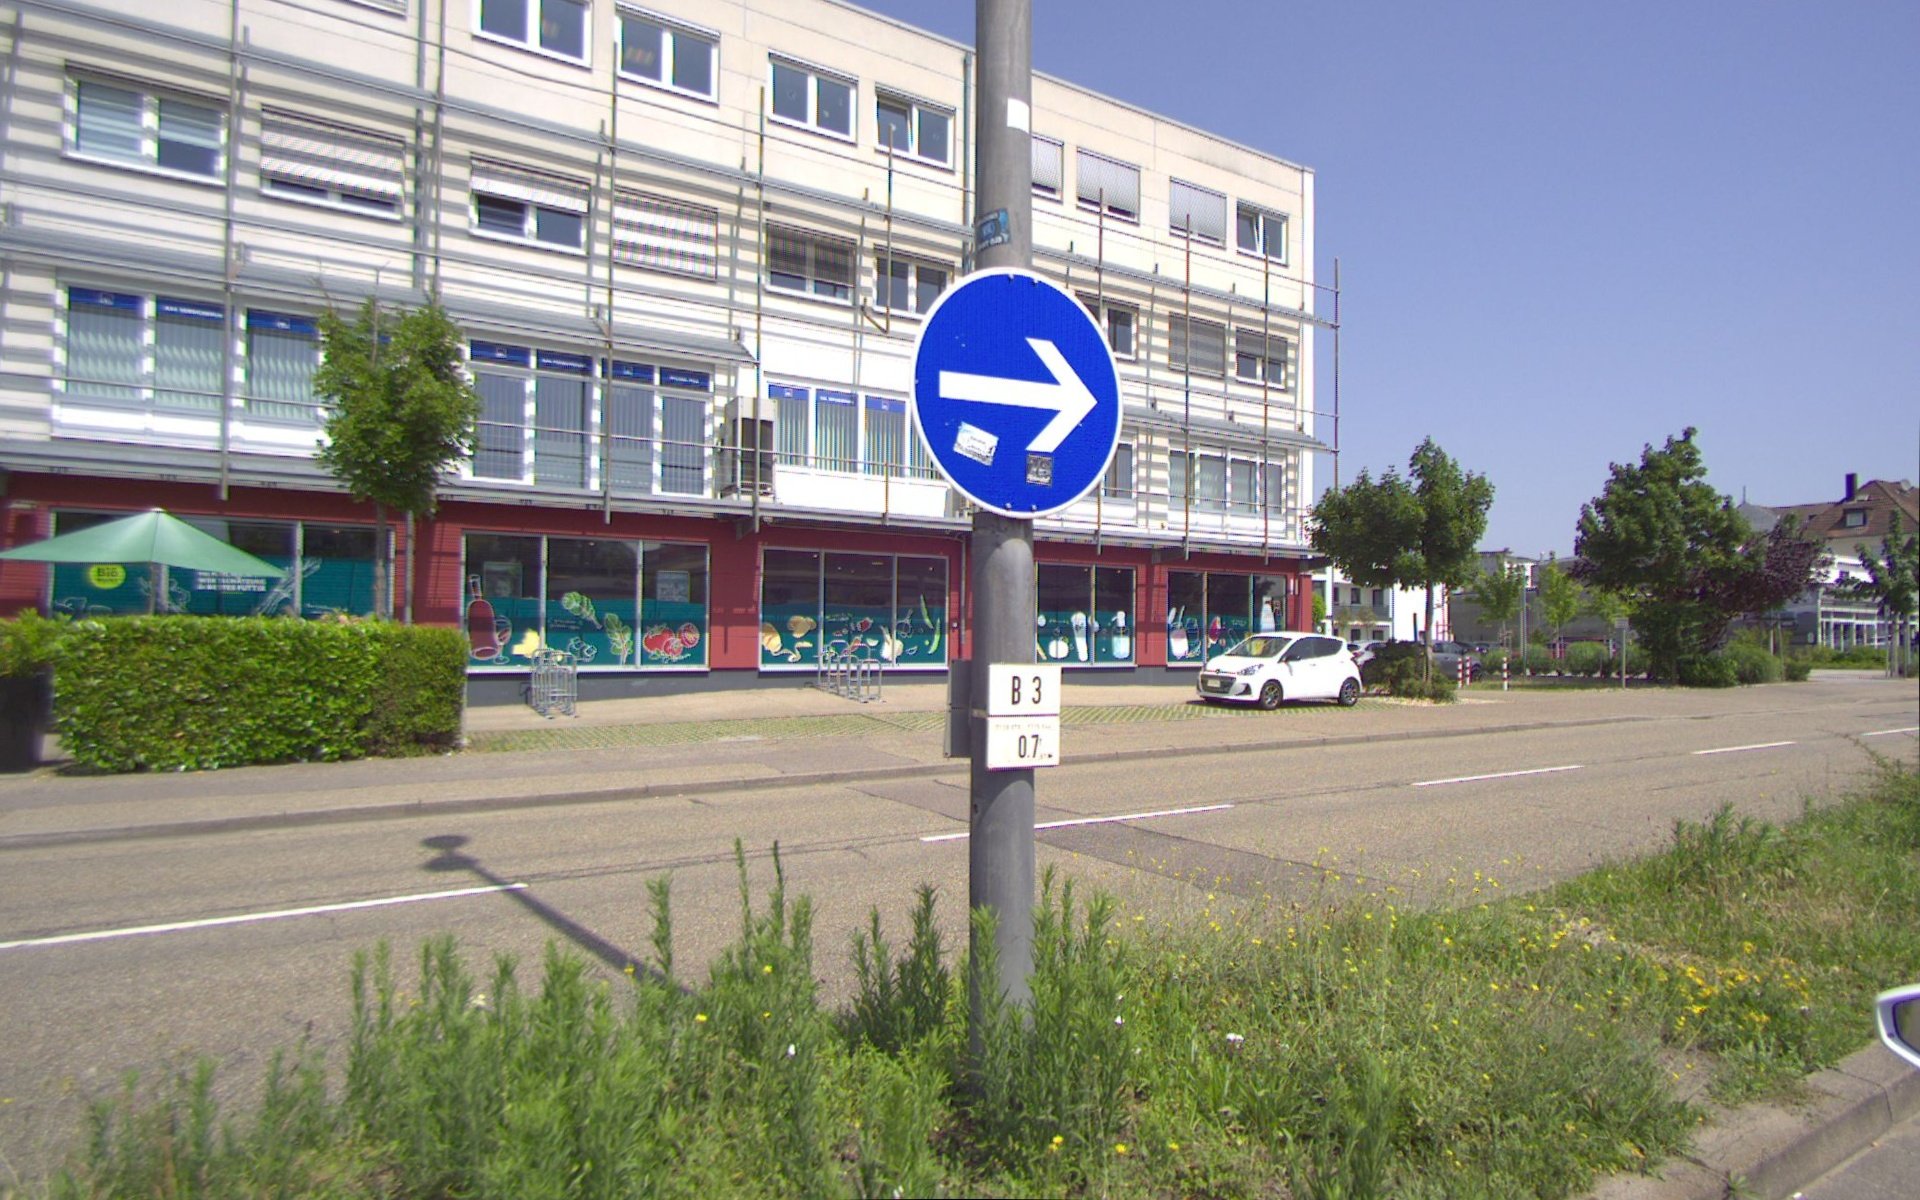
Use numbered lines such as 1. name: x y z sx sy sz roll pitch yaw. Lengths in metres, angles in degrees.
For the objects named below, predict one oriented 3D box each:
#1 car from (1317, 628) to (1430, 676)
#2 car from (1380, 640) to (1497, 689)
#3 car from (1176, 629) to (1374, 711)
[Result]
1. car: 15.070 1.898 36.582 3.954 1.572 1.746 4 -2 -30
2. car: 16.737 2.255 35.090 3.953 1.567 1.761 4 -3 -30
3. car: 6.562 1.394 20.813 3.995 1.514 1.671 1 -1 -30
